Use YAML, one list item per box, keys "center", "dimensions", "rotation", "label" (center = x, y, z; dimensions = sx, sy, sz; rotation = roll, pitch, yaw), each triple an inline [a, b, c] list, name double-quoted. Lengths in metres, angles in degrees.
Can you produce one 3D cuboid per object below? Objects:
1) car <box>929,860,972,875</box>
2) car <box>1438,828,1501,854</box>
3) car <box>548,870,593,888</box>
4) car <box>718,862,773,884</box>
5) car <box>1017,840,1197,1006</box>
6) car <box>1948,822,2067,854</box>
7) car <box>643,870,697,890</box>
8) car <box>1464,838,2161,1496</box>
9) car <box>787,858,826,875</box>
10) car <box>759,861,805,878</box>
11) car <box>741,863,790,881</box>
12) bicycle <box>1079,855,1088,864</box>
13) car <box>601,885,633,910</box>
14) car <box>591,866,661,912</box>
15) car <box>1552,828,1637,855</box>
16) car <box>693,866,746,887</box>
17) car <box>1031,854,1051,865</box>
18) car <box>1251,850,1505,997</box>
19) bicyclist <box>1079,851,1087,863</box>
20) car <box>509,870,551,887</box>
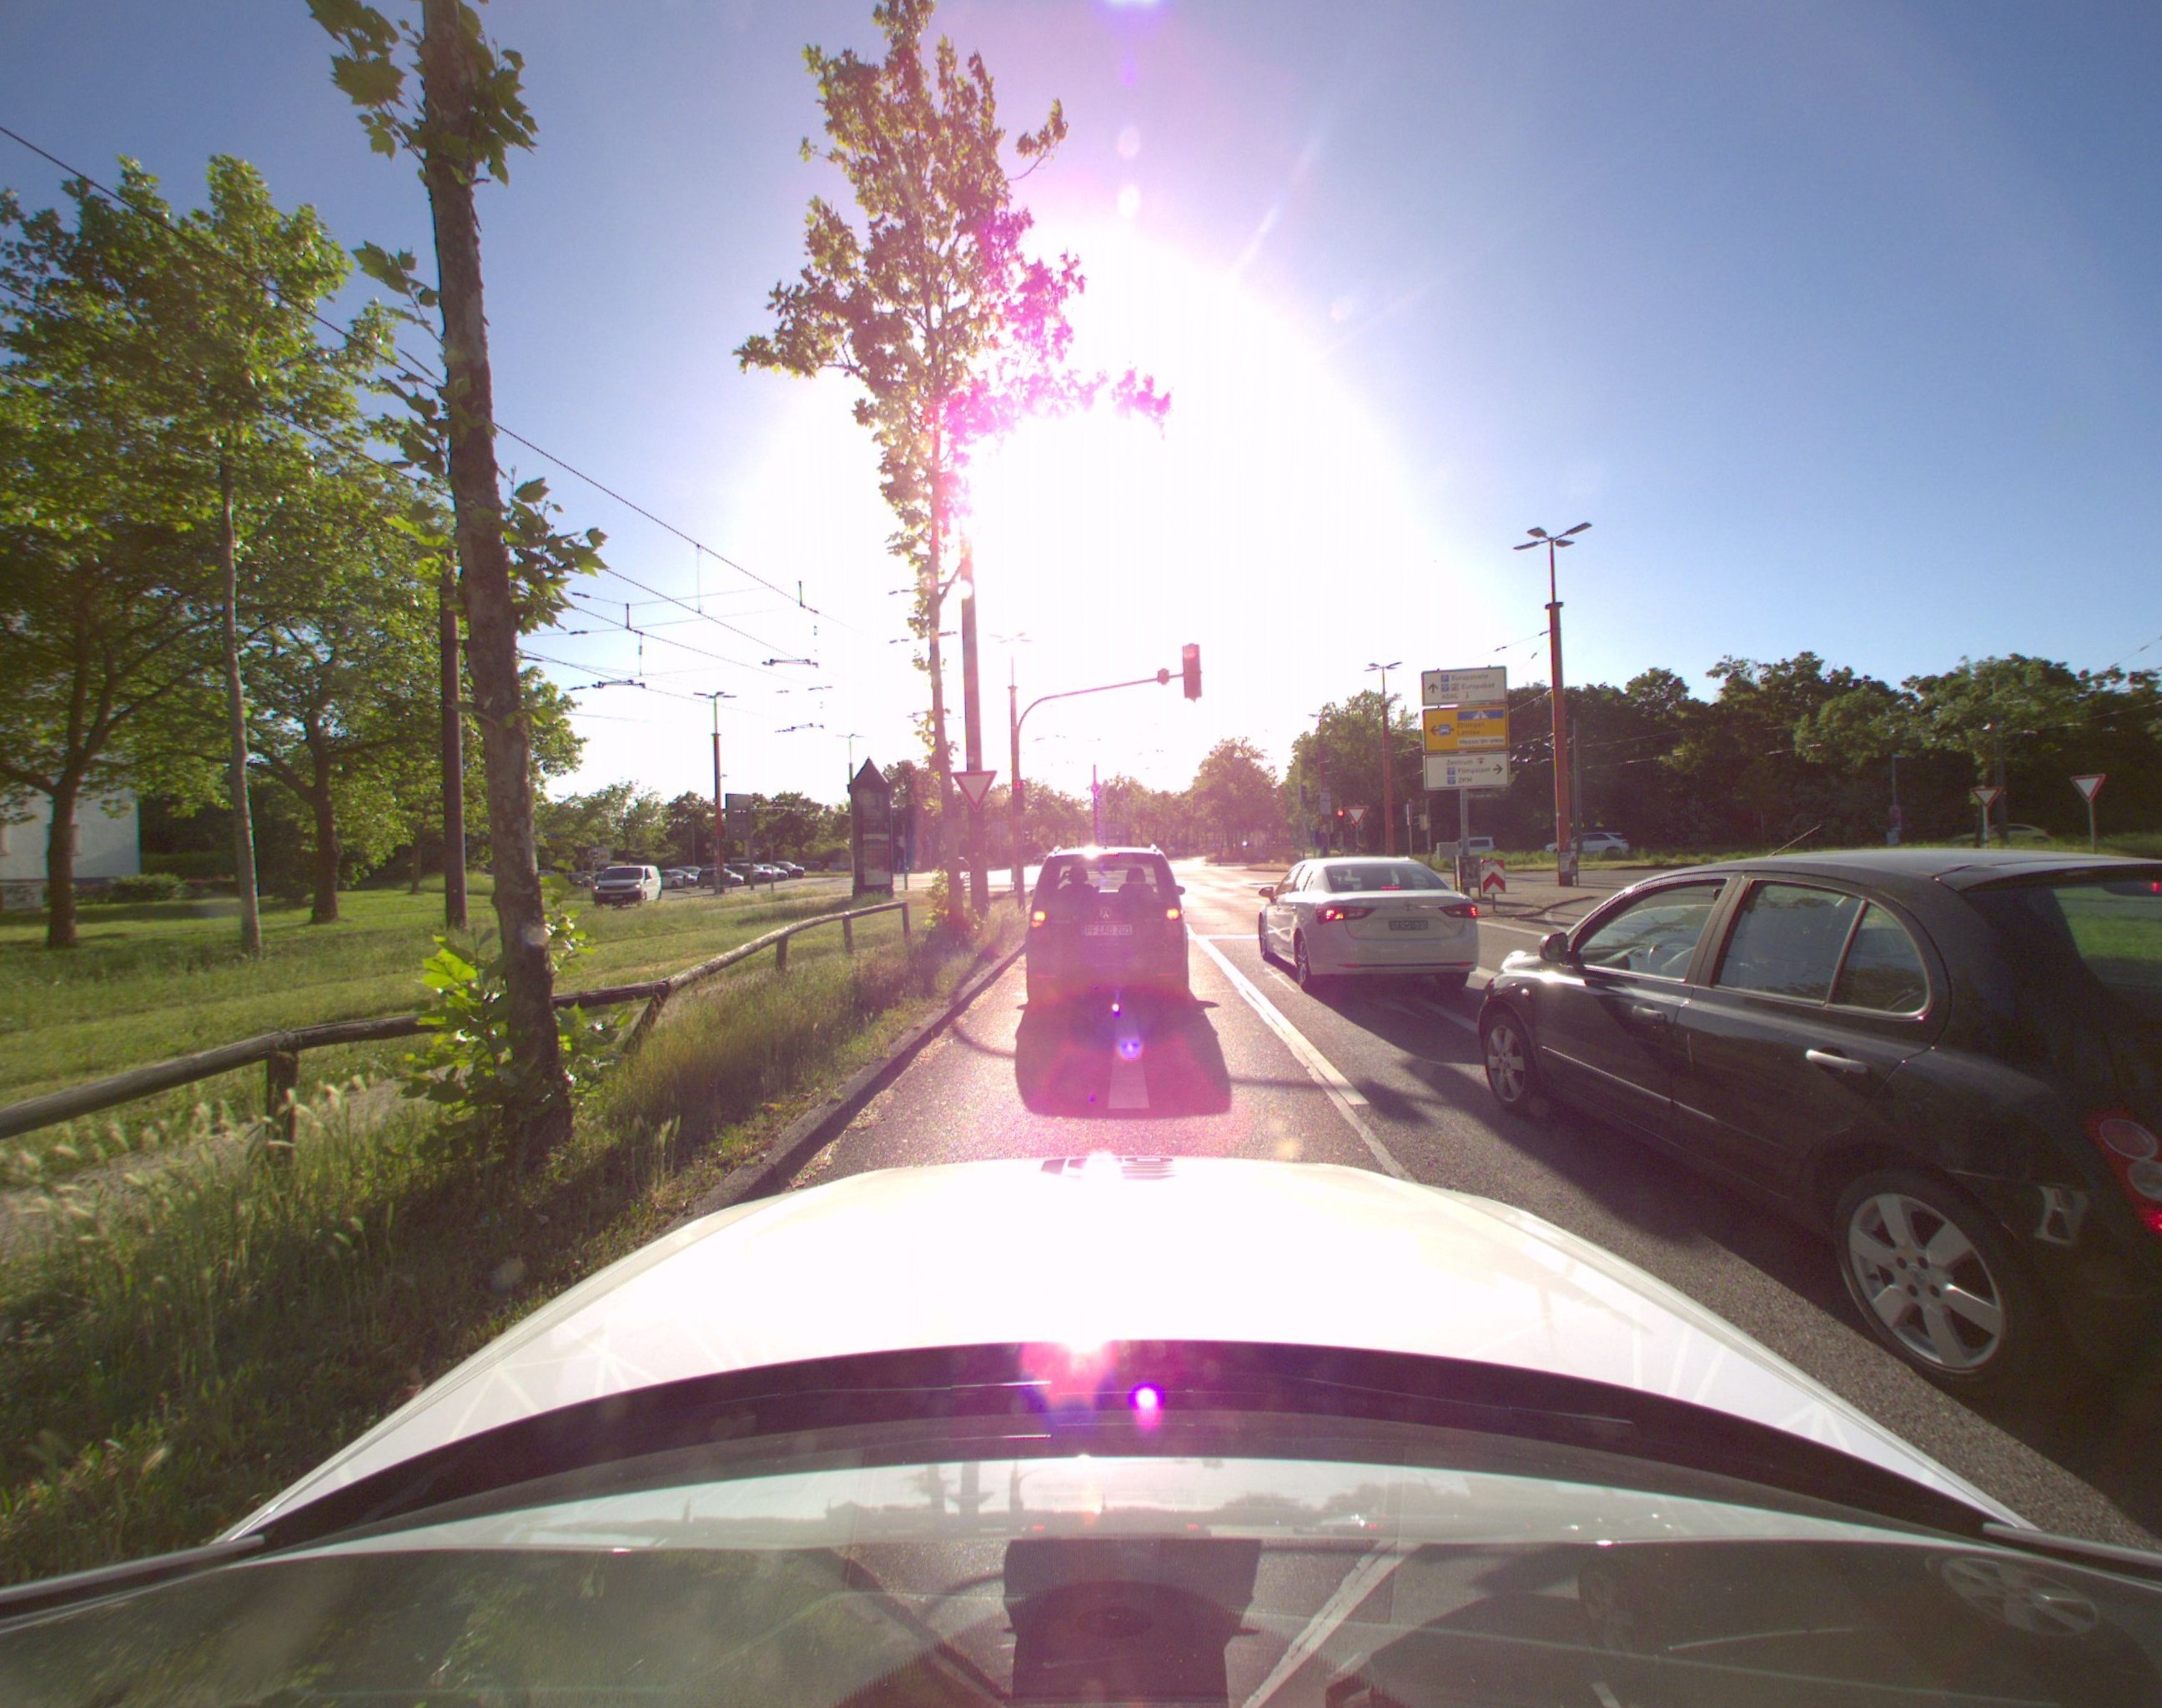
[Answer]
- center: [-13.419, 1.382, 83.588]
  dimensions: [4.080, 1.403, 1.666]
  rotation: [-1, 0, 27]
  label: "car"
- center: [28.650, -0.931, 60.043]
  dimensions: [4.080, 1.750, 1.667]
  rotation: [-1, 0, 28]
  label: "car"
- center: [-45.077, 2.223, 71.908]
  dimensions: [4.145, 1.520, 1.667]
  rotation: [-1, 0, 32]
  label: "car"
- center: [-26.924, 1.519, 65.356]
  dimensions: [4.583, 1.647, 1.667]
  rotation: [-1, 0, 32]
  label: "car"
- center: [0.363, 0.688, 10.086]
  dimensions: [1.731, 1.602, 4.329]
  rotation: [0, -1, 3]
  label: "car"
- center: [52.977, -0.893, 46.653]
  dimensions: [4.164, 1.681, 1.667]
  rotation: [-1, 0, 28]
  label: "car"
- center: [-32.663, 2.076, 64.738]
  dimensions: [4.577, 1.520, 1.667]
  rotation: [-1, 0, 32]
  label: "car"
- center: [3.176, 0.694, 3.493]
  dimensions: [1.570, 1.440, 3.443]
  rotation: [0, -1, 2]
  label: "car"
- center: [-31.362, 1.430, 93.083]
  dimensions: [4.080, 1.791, 1.810]
  rotation: [-1, 0, 28]
  label: "car"
- center: [-26.727, 1.384, 72.817]
  dimensions: [4.102, 1.415, 1.553]
  rotation: [-1, 0, 28]
  label: "car"
- center: [-26.831, 1.526, 69.192]
  dimensions: [4.102, 1.415, 1.553]
  rotation: [-1, 0, 28]
  label: "car"
- center: [0.342, 0.877, 131.864]
  dimensions: [0.970, 1.388, 2.987]
  rotation: [-1, 0, 9]
  label: "bicycle"
- center: [-33.022, 3.058, 57.899]
  dimensions: [1.663, 1.618, 4.249]
  rotation: [-1, 0, -33]
  label: "car"
- center: [-20.212, 1.479, 36.343]
  dimensions: [1.833, 1.821, 4.871]
  rotation: [-1, 0, -19]
  label: "car"
- center: [33.702, -0.784, 53.592]
  dimensions: [4.616, 1.625, 1.667]
  rotation: [-1, 0, 28]
  label: "car"
- center: [-27.329, 1.697, 61.574]
  dimensions: [3.793, 1.441, 1.667]
  rotation: [-1, 0, 29]
  label: "car"
- center: [-5.726, 0.762, 116.581]
  dimensions: [1.638, 1.403, 4.150]
  rotation: [-1, 0, 17]
  label: "car"
- center: [3.370, 0.708, 10.191]
  dimensions: [1.792, 1.440, 4.329]
  rotation: [0, -1, 3]
  label: "car"
- center: [0.343, 0.535, 131.906]
  dimensions: [0.970, 1.904, 1.053]
  rotation: [-1, 0, 9]
  label: "bicyclist"
- center: [-51.123, 2.263, 75.529]
  dimensions: [4.145, 1.520, 1.667]
  rotation: [-1, 0, 32]
  label: "car"
